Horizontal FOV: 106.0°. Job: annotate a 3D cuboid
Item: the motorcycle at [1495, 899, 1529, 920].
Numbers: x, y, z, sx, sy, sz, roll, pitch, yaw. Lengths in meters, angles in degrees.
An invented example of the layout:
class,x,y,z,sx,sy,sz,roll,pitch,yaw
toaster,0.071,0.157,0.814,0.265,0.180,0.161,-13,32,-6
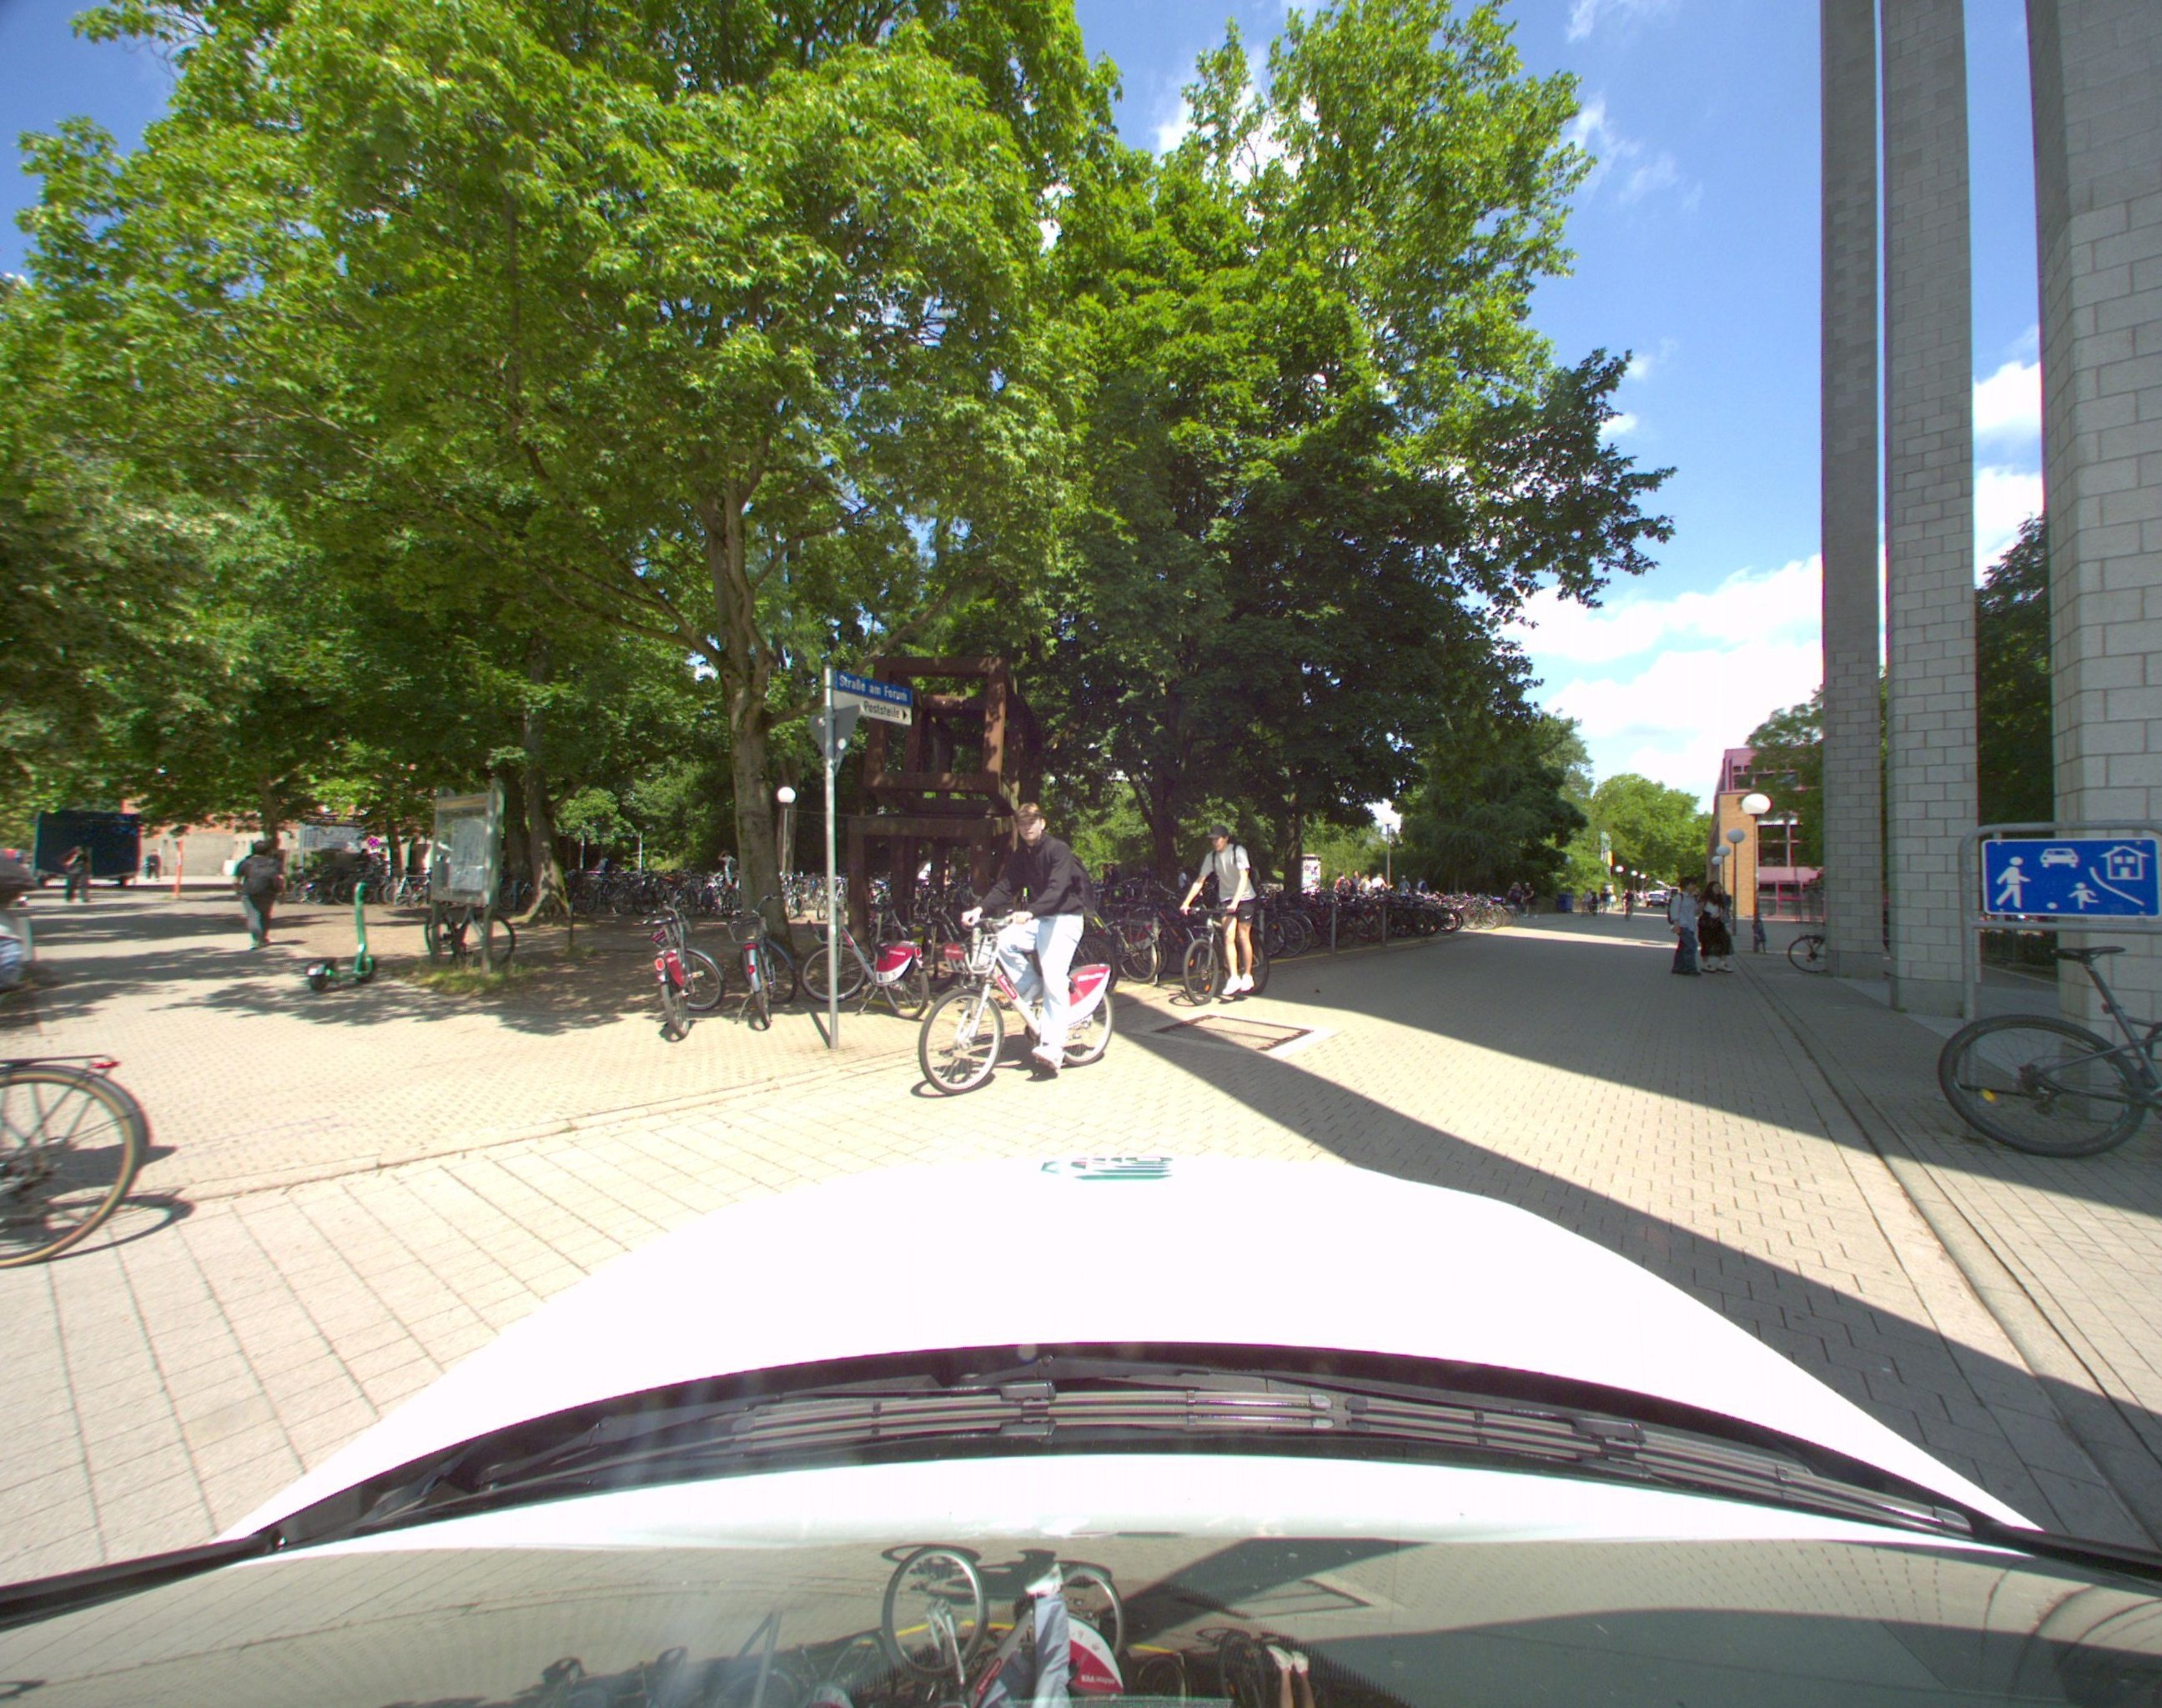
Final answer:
class,x,y,z,sx,sy,sz,roll,pitch,yaw
motorcycle,23.598,3.030,44.657,0.472,1.047,2.019,3,-1,-10

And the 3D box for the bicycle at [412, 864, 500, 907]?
class,x,y,z,sx,sy,sz,roll,pitch,yaw
bicycle,-17.138,0.869,22.403,0.498,1.108,2.036,2,-2,11

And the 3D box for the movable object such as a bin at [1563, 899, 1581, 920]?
class,x,y,z,sx,sy,sz,roll,pitch,yaw
movable object such as a bin,34.028,3.844,56.445,1.246,1.336,0.703,4,-1,-43

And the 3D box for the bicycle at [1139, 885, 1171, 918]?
class,x,y,z,sx,sy,sz,roll,pitch,yaw
bicycle,2.613,1.671,28.754,0.474,1.084,1.689,3,-2,-17

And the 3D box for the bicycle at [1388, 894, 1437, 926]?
class,x,y,z,sx,sy,sz,roll,pitch,yaw
bicycle,12.617,2.125,31.071,0.476,1.110,1.680,4,-3,-40

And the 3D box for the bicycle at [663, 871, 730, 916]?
class,x,y,z,sx,sy,sz,roll,pitch,yaw
bicycle,-10.072,1.023,21.417,0.498,1.108,2.009,2,-2,7

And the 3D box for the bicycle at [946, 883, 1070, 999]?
class,x,y,z,sx,sy,sz,roll,pitch,yaw
bicycle,-0.834,0.900,8.919,0.499,1.108,1.610,1,-1,-41

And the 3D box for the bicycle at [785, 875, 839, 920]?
class,x,y,z,sx,sy,sz,roll,pitch,yaw
bicycle,-7.077,1.124,21.510,0.498,1.108,1.910,2,-2,7

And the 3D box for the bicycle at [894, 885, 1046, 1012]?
class,x,y,z,sx,sy,sz,roll,pitch,yaw
bicycle,-1.136,0.894,8.165,1.609,1.108,0.500,0,-1,37

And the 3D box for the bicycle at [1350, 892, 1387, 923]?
class,x,y,z,sx,sy,sz,roll,pitch,yaw
bicycle,10.682,1.981,30.312,0.473,1.084,1.693,3,-2,-11

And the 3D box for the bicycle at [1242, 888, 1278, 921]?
class,x,y,z,sx,sy,sz,roll,pitch,yaw
bicycle,6.445,1.807,29.451,0.474,1.084,1.689,3,-2,-17

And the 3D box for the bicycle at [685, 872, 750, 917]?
class,x,y,z,sx,sy,sz,roll,pitch,yaw
bicycle,-9.486,1.053,21.338,0.498,1.108,2.009,2,-2,7

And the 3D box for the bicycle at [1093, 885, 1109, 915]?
class,x,y,z,sx,sy,sz,roll,pitch,yaw
bicycle,0.689,1.587,28.264,0.449,0.962,1.739,3,-2,-1

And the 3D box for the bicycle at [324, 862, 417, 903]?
class,x,y,z,sx,sy,sz,roll,pitch,yaw
bicycle,-20.133,0.811,23.142,0.498,1.108,2.036,2,-2,11

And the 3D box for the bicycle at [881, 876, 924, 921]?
class,x,y,z,sx,sy,sz,roll,pitch,yaw
bicycle,-4.680,1.164,21.468,0.499,1.108,1.909,2,-2,5

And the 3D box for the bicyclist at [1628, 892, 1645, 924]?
class,x,y,z,sx,sy,sz,roll,pitch,yaw
bicyclist,30.777,3.004,45.114,0.764,1.716,0.916,0,-4,34

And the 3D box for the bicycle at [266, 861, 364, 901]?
class,x,y,z,sx,sy,sz,roll,pitch,yaw
bicycle,-22.380,0.804,23.849,0.497,1.108,2.039,2,-2,19

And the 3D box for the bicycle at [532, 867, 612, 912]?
class,x,y,z,sx,sy,sz,roll,pitch,yaw
bicycle,-13.530,0.942,21.737,0.498,1.108,2.036,2,-2,11

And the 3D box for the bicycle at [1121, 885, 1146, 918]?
class,x,y,z,sx,sy,sz,roll,pitch,yaw
bicycle,1.831,1.645,28.727,0.472,1.084,1.693,3,-2,-10

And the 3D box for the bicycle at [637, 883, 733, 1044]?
class,x,y,z,sx,sy,sz,roll,pitch,yaw
bicycle,-3.355,0.849,6.983,0.640,1.159,1.617,1,-1,-24

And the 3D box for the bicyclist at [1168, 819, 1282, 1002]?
class,x,y,z,sx,sy,sz,roll,pitch,yaw
bicyclist,1.599,0.598,9.025,0.872,1.892,0.795,5,-2,-44

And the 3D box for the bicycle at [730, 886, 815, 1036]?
class,x,y,z,sx,sy,sz,roll,pitch,yaw
bicycle,-2.795,0.875,7.297,0.591,1.108,1.732,1,-1,-24

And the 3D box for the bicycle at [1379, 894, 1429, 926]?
class,x,y,z,sx,sy,sz,roll,pitch,yaw
bicycle,12.192,2.103,30.789,0.476,1.084,1.704,4,-3,-39

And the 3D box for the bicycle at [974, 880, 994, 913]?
class,x,y,z,sx,sy,sz,roll,pitch,yaw
bicycle,-3.367,1.453,28.252,0.471,1.084,1.698,3,-2,-1

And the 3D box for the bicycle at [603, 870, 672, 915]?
class,x,y,z,sx,sy,sz,roll,pitch,yaw
bicycle,-11.729,1.000,21.601,0.499,1.108,2.033,2,-2,5

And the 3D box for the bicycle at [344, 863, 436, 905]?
class,x,y,z,sx,sy,sz,roll,pitch,yaw
bicycle,-19.425,0.838,22.957,0.498,1.108,2.036,2,-2,11

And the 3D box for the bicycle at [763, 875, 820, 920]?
class,x,y,z,sx,sy,sz,roll,pitch,yaw
bicycle,-7.617,1.123,21.528,0.498,1.108,2.009,2,-2,7

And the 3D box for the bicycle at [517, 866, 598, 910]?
class,x,y,z,sx,sy,sz,roll,pitch,yaw
bicycle,-14.041,0.923,21.911,0.498,1.108,2.036,2,-2,11

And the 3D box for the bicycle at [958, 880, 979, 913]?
class,x,y,z,sx,sy,sz,roll,pitch,yaw
bicycle,-3.886,1.438,28.140,0.471,1.084,1.698,3,-2,-1

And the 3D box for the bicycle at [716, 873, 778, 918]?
class,x,y,z,sx,sy,sz,roll,pitch,yaw
bicycle,-8.727,1.074,21.359,0.498,1.108,2.009,2,-2,7

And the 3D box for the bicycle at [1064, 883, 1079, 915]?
class,x,y,z,sx,sy,sz,roll,pitch,yaw
bicycle,-0.337,1.553,28.465,0.471,1.084,1.698,3,-2,-1

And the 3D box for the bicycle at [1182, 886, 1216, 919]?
class,x,y,z,sx,sy,sz,roll,pitch,yaw
bicycle,4.198,1.725,28.968,0.474,1.084,1.689,3,-2,-17

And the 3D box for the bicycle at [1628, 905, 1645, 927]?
class,x,y,z,sx,sy,sz,roll,pitch,yaw
bicycle,30.757,3.419,45.102,0.764,1.151,2.121,0,-4,34

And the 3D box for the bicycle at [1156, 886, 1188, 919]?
class,x,y,z,sx,sy,sz,roll,pitch,yaw
bicycle,3.208,1.695,28.840,0.474,1.084,1.689,3,-2,-17

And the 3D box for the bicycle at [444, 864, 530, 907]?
class,x,y,z,sx,sy,sz,roll,pitch,yaw
bicycle,-16.304,0.880,22.423,0.498,1.108,2.036,2,-2,11

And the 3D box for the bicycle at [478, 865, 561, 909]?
class,x,y,z,sx,sy,sz,roll,pitch,yaw
bicycle,-15.201,0.892,22.130,0.498,1.108,2.036,2,-2,11

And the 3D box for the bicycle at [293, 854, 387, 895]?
class,x,y,z,sx,sy,sz,roll,pitch,yaw
bicycle,-21.263,0.596,23.427,0.498,1.108,2.036,2,-2,11

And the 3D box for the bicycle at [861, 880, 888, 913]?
class,x,y,z,sx,sy,sz,roll,pitch,yaw
bicycle,-7.153,1.459,28.267,0.471,1.084,1.698,3,-2,-1

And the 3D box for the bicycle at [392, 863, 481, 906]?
class,x,y,z,sx,sy,sz,roll,pitch,yaw
bicycle,-17.755,0.852,22.510,0.498,1.108,2.036,2,-2,11

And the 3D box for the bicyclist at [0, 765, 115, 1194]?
class,x,y,z,sx,sy,sz,roll,pitch,yaw
bicyclist,-4.407,0.454,3.001,0.872,1.573,0.638,1,1,-11

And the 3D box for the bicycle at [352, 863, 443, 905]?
class,x,y,z,sx,sy,sz,roll,pitch,yaw
bicycle,-19.095,0.841,22.813,0.498,1.108,2.036,2,-2,11

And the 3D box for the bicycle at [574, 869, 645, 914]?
class,x,y,z,sx,sy,sz,roll,pitch,yaw
bicycle,-12.494,0.989,21.653,0.499,1.108,2.033,2,-2,5

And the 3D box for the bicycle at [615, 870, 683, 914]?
class,x,y,z,sx,sy,sz,roll,pitch,yaw
bicycle,-11.392,0.997,21.574,0.499,1.108,2.033,2,-2,5

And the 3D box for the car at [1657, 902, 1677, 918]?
class,x,y,z,sx,sy,sz,roll,pitch,yaw
car,74.493,7.075,103.461,1.865,1.974,5.246,1,-2,37

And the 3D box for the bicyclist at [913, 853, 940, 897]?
class,x,y,z,sx,sy,sz,roll,pitch,yaw
bicyclist,-5.679,0.762,29.909,0.715,1.568,0.597,2,-2,10

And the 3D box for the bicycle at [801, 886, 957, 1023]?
class,x,y,z,sx,sy,sz,roll,pitch,yaw
bicycle,-1.915,0.884,7.627,1.609,1.108,0.500,0,-1,37

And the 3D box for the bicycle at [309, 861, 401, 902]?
class,x,y,z,sx,sy,sz,roll,pitch,yaw
bicycle,-20.755,0.801,23.345,0.498,1.108,2.036,2,-2,11

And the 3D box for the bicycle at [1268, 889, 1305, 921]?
class,x,y,z,sx,sy,sz,roll,pitch,yaw
bicycle,7.443,1.843,29.556,0.474,1.084,1.689,3,-2,-17

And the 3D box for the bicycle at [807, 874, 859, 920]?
class,x,y,z,sx,sy,sz,roll,pitch,yaw
bicycle,-6.459,1.109,21.330,0.498,1.108,1.910,2,-2,7

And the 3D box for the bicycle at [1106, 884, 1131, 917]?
class,x,y,z,sx,sy,sz,roll,pitch,yaw
bicycle,1.306,1.628,28.698,0.472,1.084,1.693,3,-2,-10

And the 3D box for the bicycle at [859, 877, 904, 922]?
class,x,y,z,sx,sy,sz,roll,pitch,yaw
bicycle,-5.224,1.170,21.425,0.499,1.108,1.909,2,-2,5

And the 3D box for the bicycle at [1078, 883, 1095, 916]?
class,x,y,z,sx,sy,sz,roll,pitch,yaw
bicycle,0.187,1.559,28.224,0.471,1.084,1.698,3,-2,-1

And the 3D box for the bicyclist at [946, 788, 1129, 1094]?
class,x,y,z,sx,sy,sz,roll,pitch,yaw
bicyclist,-0.292,0.548,5.595,0.974,1.888,0.667,3,-1,-38

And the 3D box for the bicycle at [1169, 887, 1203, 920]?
class,x,y,z,sx,sy,sz,roll,pitch,yaw
bicycle,3.711,1.745,28.847,0.474,1.084,1.689,3,-2,-17

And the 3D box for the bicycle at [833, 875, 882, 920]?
class,x,y,z,sx,sy,sz,roll,pitch,yaw
bicycle,-5.888,1.139,21.556,0.498,1.108,1.910,2,-2,7

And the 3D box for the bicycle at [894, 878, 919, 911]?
class,x,y,z,sx,sy,sz,roll,pitch,yaw
bicycle,-6.059,1.389,28.307,0.471,1.084,1.698,3,-2,-1
